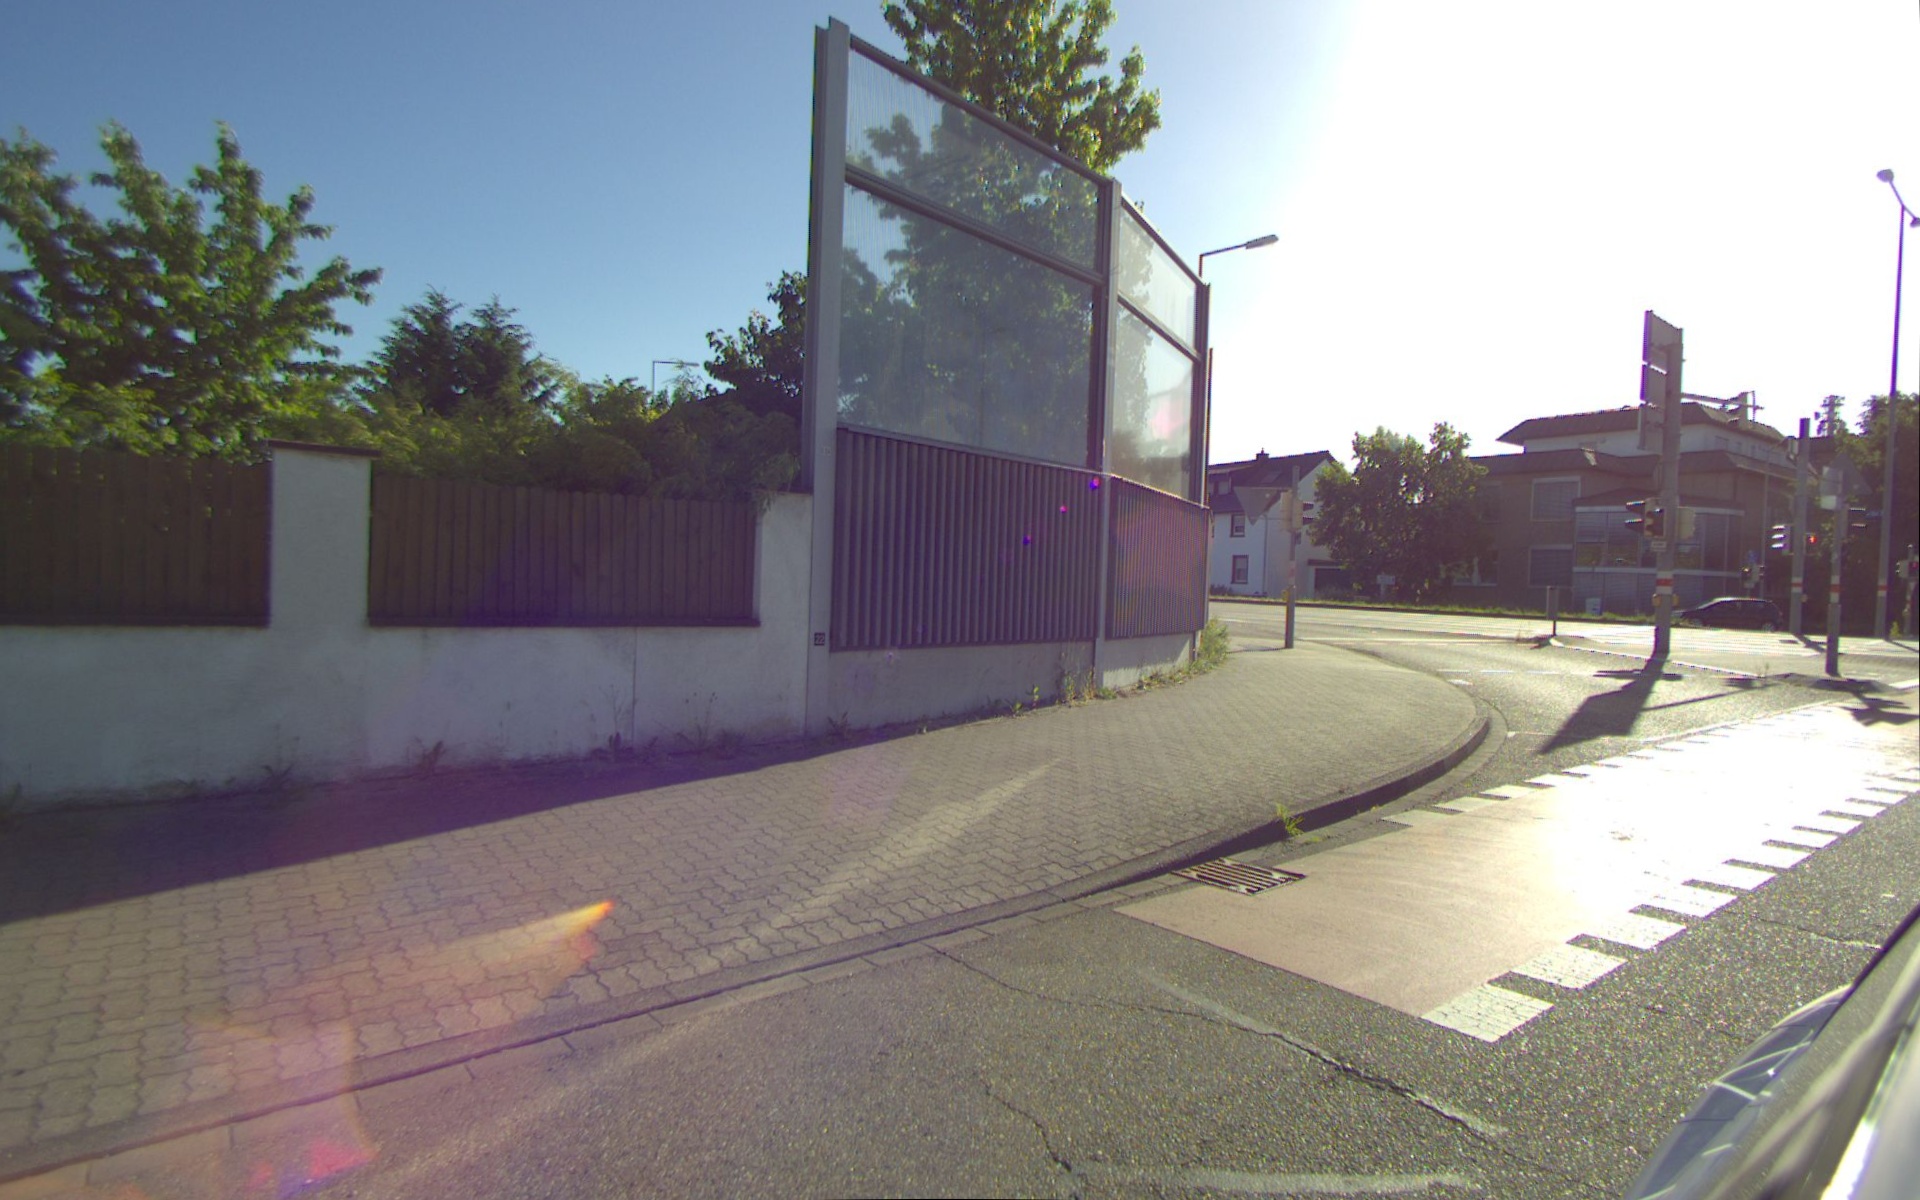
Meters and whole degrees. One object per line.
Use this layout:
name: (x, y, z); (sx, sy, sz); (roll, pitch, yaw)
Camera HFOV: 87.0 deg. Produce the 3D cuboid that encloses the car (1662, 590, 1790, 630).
car: (31.042, 0.403, 41.129); (3.727, 1.505, 1.769); (1, 0, 16)
